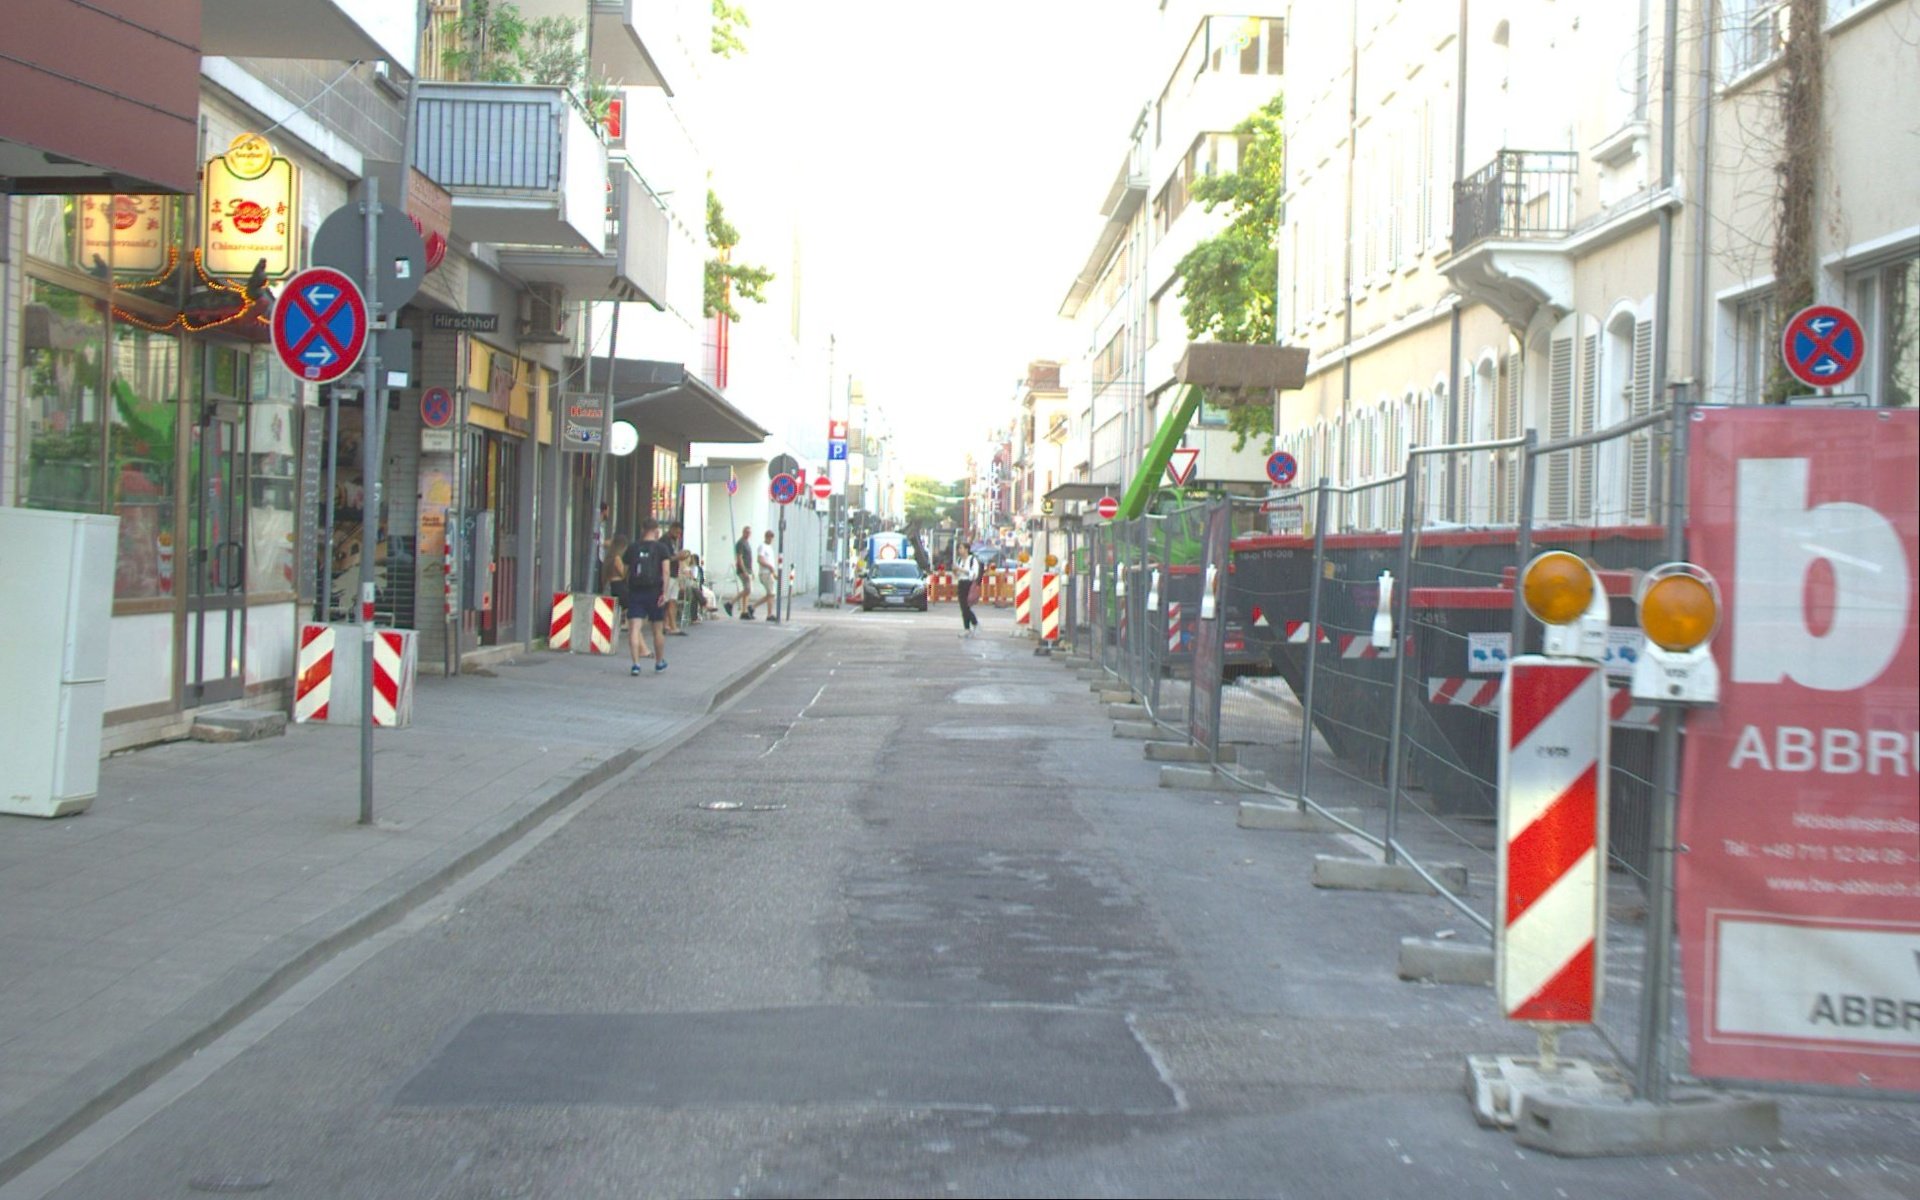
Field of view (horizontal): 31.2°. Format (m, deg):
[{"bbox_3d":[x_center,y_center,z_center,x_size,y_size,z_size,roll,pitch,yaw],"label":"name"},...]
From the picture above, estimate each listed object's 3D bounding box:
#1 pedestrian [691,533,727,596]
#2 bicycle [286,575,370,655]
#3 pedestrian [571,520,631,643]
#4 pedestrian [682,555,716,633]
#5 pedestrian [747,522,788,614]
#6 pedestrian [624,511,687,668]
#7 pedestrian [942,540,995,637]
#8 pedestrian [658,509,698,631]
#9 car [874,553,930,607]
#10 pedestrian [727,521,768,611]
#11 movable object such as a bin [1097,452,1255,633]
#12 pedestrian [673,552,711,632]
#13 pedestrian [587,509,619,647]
[{"bbox_3d":[-4.759,-0.680,65.143,0.618,1.168,0.788,1,1,-1],"label":"pedestrian"},{"bbox_3d":[-6.338,0.141,34.544,0.522,0.758,1.747,1,1,0],"label":"bicycle"},{"bbox_3d":[-4.635,-0.241,44.383,0.645,1.559,0.631,1,1,-15],"label":"pedestrian"},{"bbox_3d":[-4.694,-0.107,61.854,0.542,1.383,0.625,1,1,0],"label":"pedestrian"},{"bbox_3d":[-3.838,-0.643,68.503,0.645,1.803,0.631,1,1,-17],"label":"pedestrian"},{"bbox_3d":[-3.543,-0.126,40.020,0.629,1.802,0.647,1,1,1],"label":"pedestrian"},{"bbox_3d":[0.158,-0.208,61.929,0.645,1.734,0.722,1,1,-29],"label":"pedestrian"},{"bbox_3d":[-4.407,-0.469,53.770,0.572,1.880,0.656,1,1,-4],"label":"pedestrian"},{"bbox_3d":[-1.588,-0.567,94.527,1.474,1.393,3.332,1,1,-1],"label":"car"},{"bbox_3d":[-4.289,-0.686,69.397,0.645,1.803,0.631,1,1,-17],"label":"pedestrian"},{"bbox_3d":[3.913,-1.099,63.051,2.470,3.120,4.298,2,2,0],"label":"movable object such as a bin"},{"bbox_3d":[-4.737,-0.151,60.792,0.558,1.386,0.893,1,1,0],"label":"pedestrian"},{"bbox_3d":[-5.260,-0.326,50.668,0.410,2.007,0.454,1,1,-3],"label":"pedestrian"}]
